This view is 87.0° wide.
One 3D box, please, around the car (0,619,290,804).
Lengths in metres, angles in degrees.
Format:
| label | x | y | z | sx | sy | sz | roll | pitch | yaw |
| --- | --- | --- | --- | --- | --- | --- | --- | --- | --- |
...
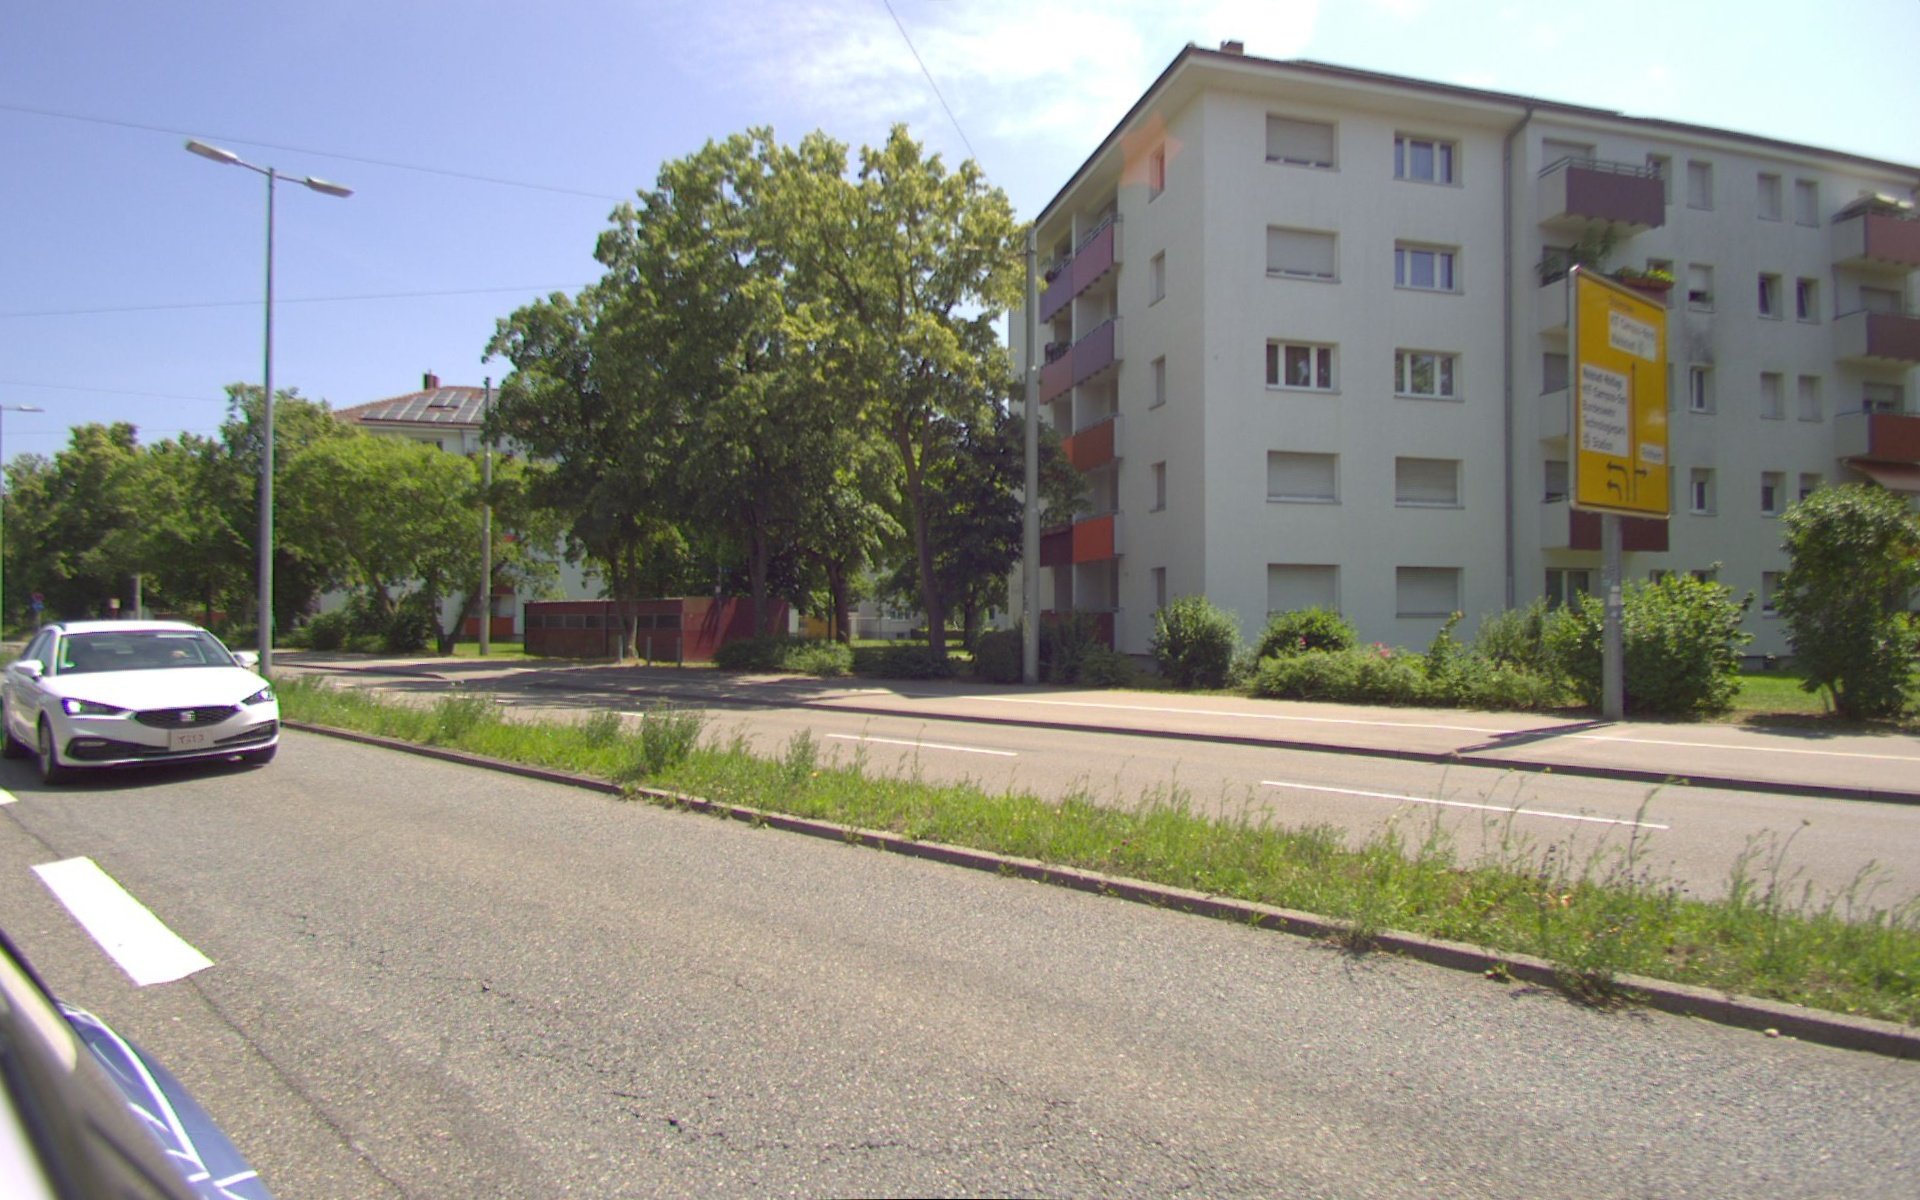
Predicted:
| label | x | y | z | sx | sy | sz | roll | pitch | yaw |
| --- | --- | --- | --- | --- | --- | --- | --- | --- | --- |
| car | -8.536 | 0.961 | 10.358 | 4.109 | 1.479 | 1.749 | -1 | 0 | 41 |
